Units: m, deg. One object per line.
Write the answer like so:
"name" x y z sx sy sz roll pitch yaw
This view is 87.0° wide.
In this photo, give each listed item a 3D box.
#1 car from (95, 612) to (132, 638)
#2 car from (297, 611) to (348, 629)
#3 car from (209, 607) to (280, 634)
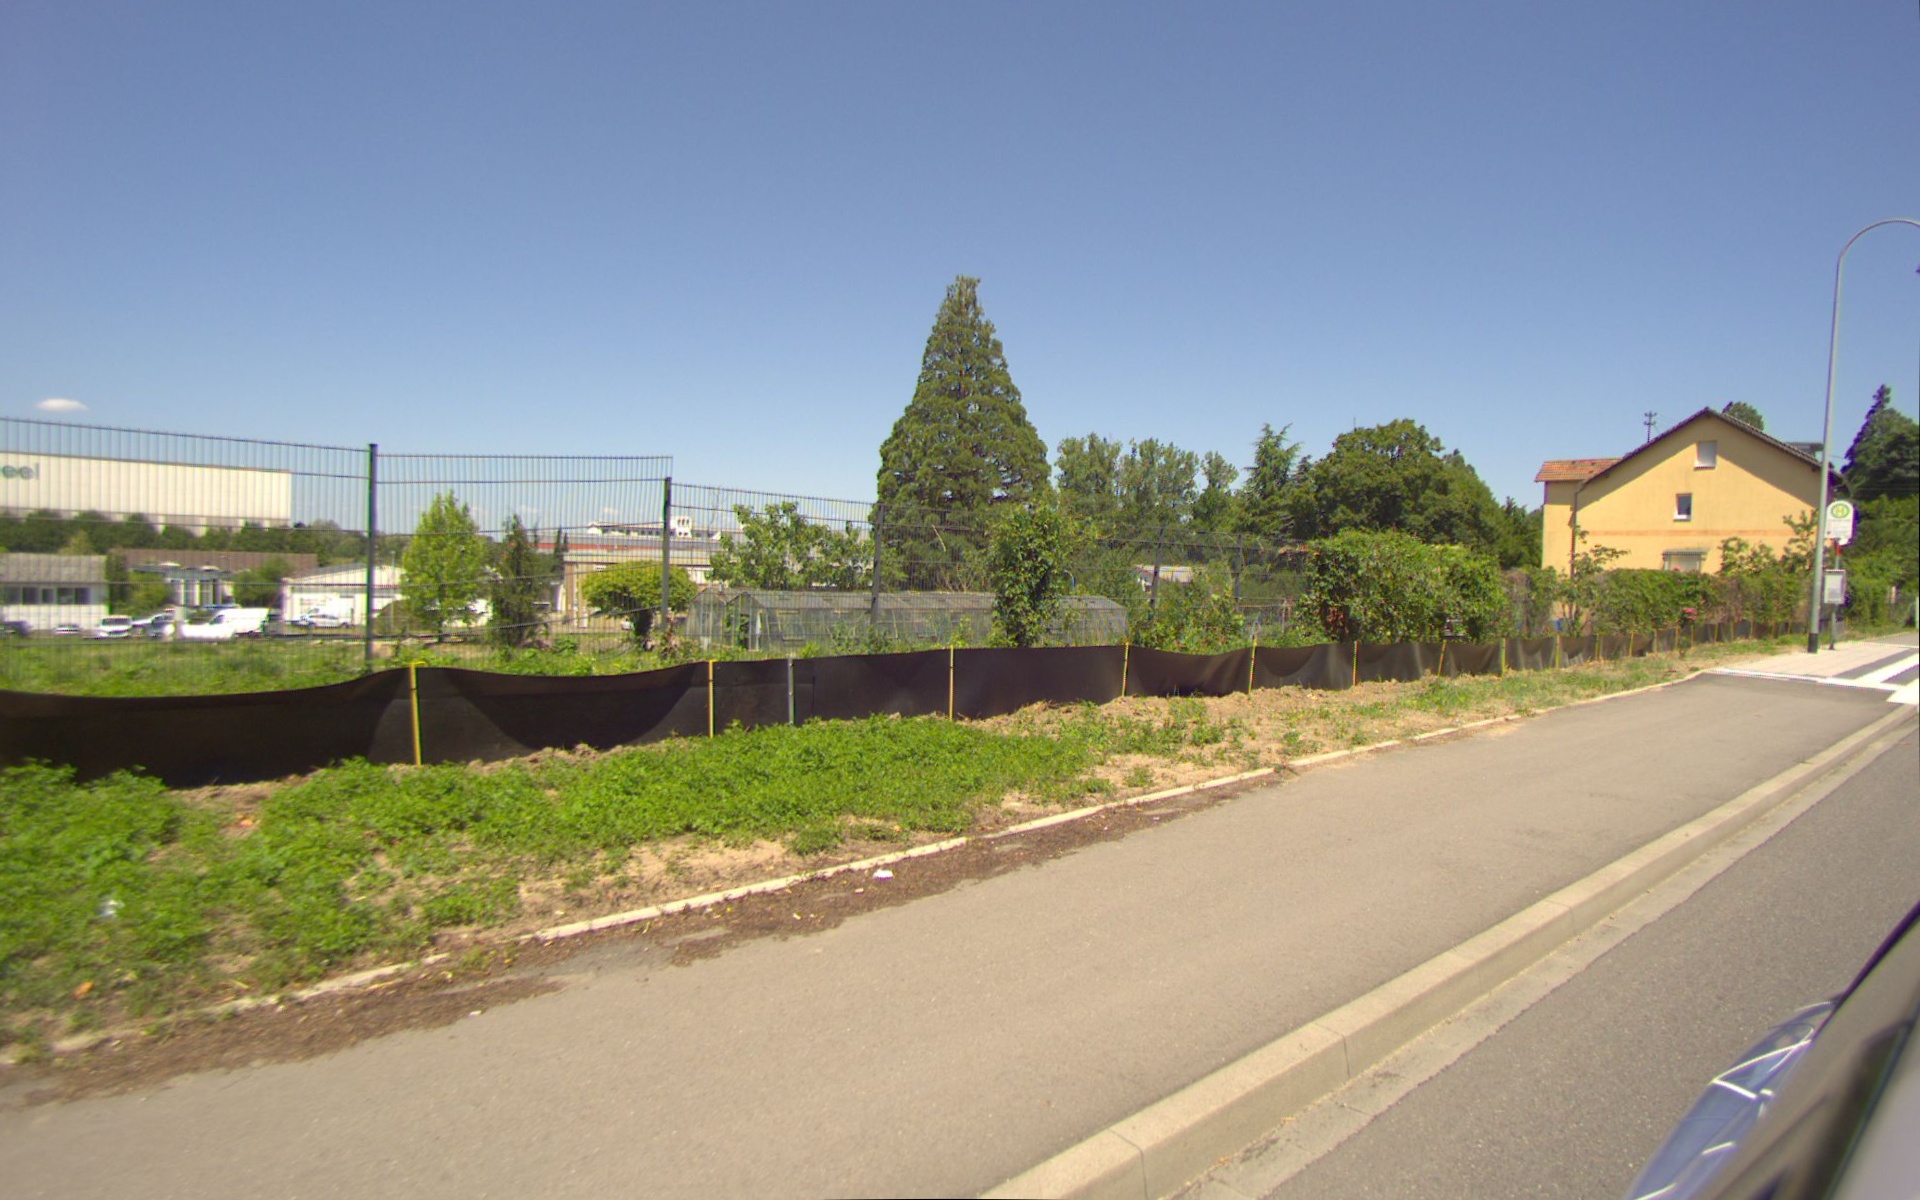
"car" -63.114 1.839 75.525 1.963 1.761 3.997 1 0 -38
"car" -59.383 1.843 94.224 3.781 1.641 1.934 1 0 -41
"car" -56.934 1.642 80.624 4.254 2.039 1.876 1 0 -5
